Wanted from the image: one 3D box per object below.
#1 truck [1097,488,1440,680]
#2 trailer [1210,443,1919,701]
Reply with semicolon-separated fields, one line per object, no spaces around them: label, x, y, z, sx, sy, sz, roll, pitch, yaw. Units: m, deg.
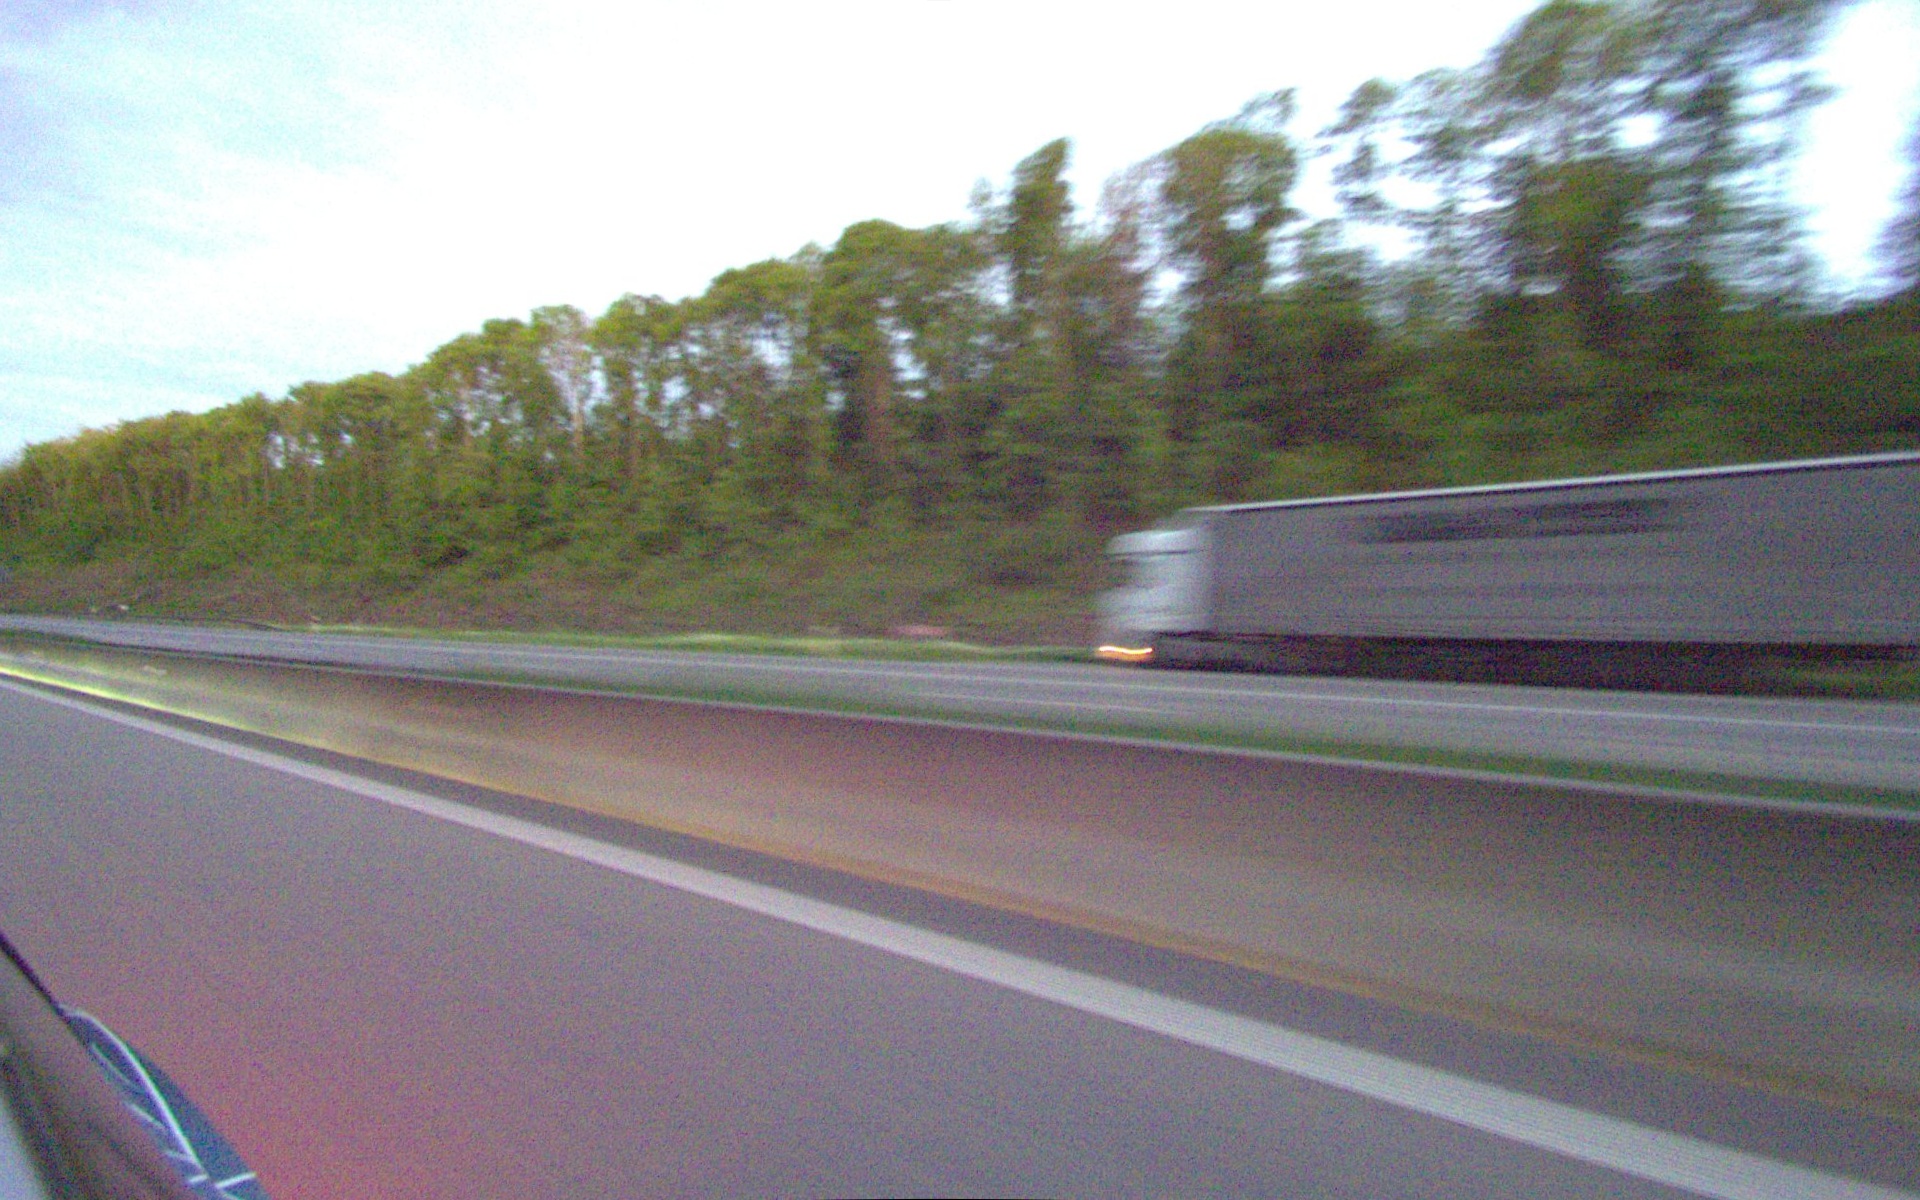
truck;7.528;-0.322;25.503;7.688;4.136;3.156;-1;0;43
trailer;12.228;-0.407;21.194;13.737;4.136;3.157;-1;0;42
